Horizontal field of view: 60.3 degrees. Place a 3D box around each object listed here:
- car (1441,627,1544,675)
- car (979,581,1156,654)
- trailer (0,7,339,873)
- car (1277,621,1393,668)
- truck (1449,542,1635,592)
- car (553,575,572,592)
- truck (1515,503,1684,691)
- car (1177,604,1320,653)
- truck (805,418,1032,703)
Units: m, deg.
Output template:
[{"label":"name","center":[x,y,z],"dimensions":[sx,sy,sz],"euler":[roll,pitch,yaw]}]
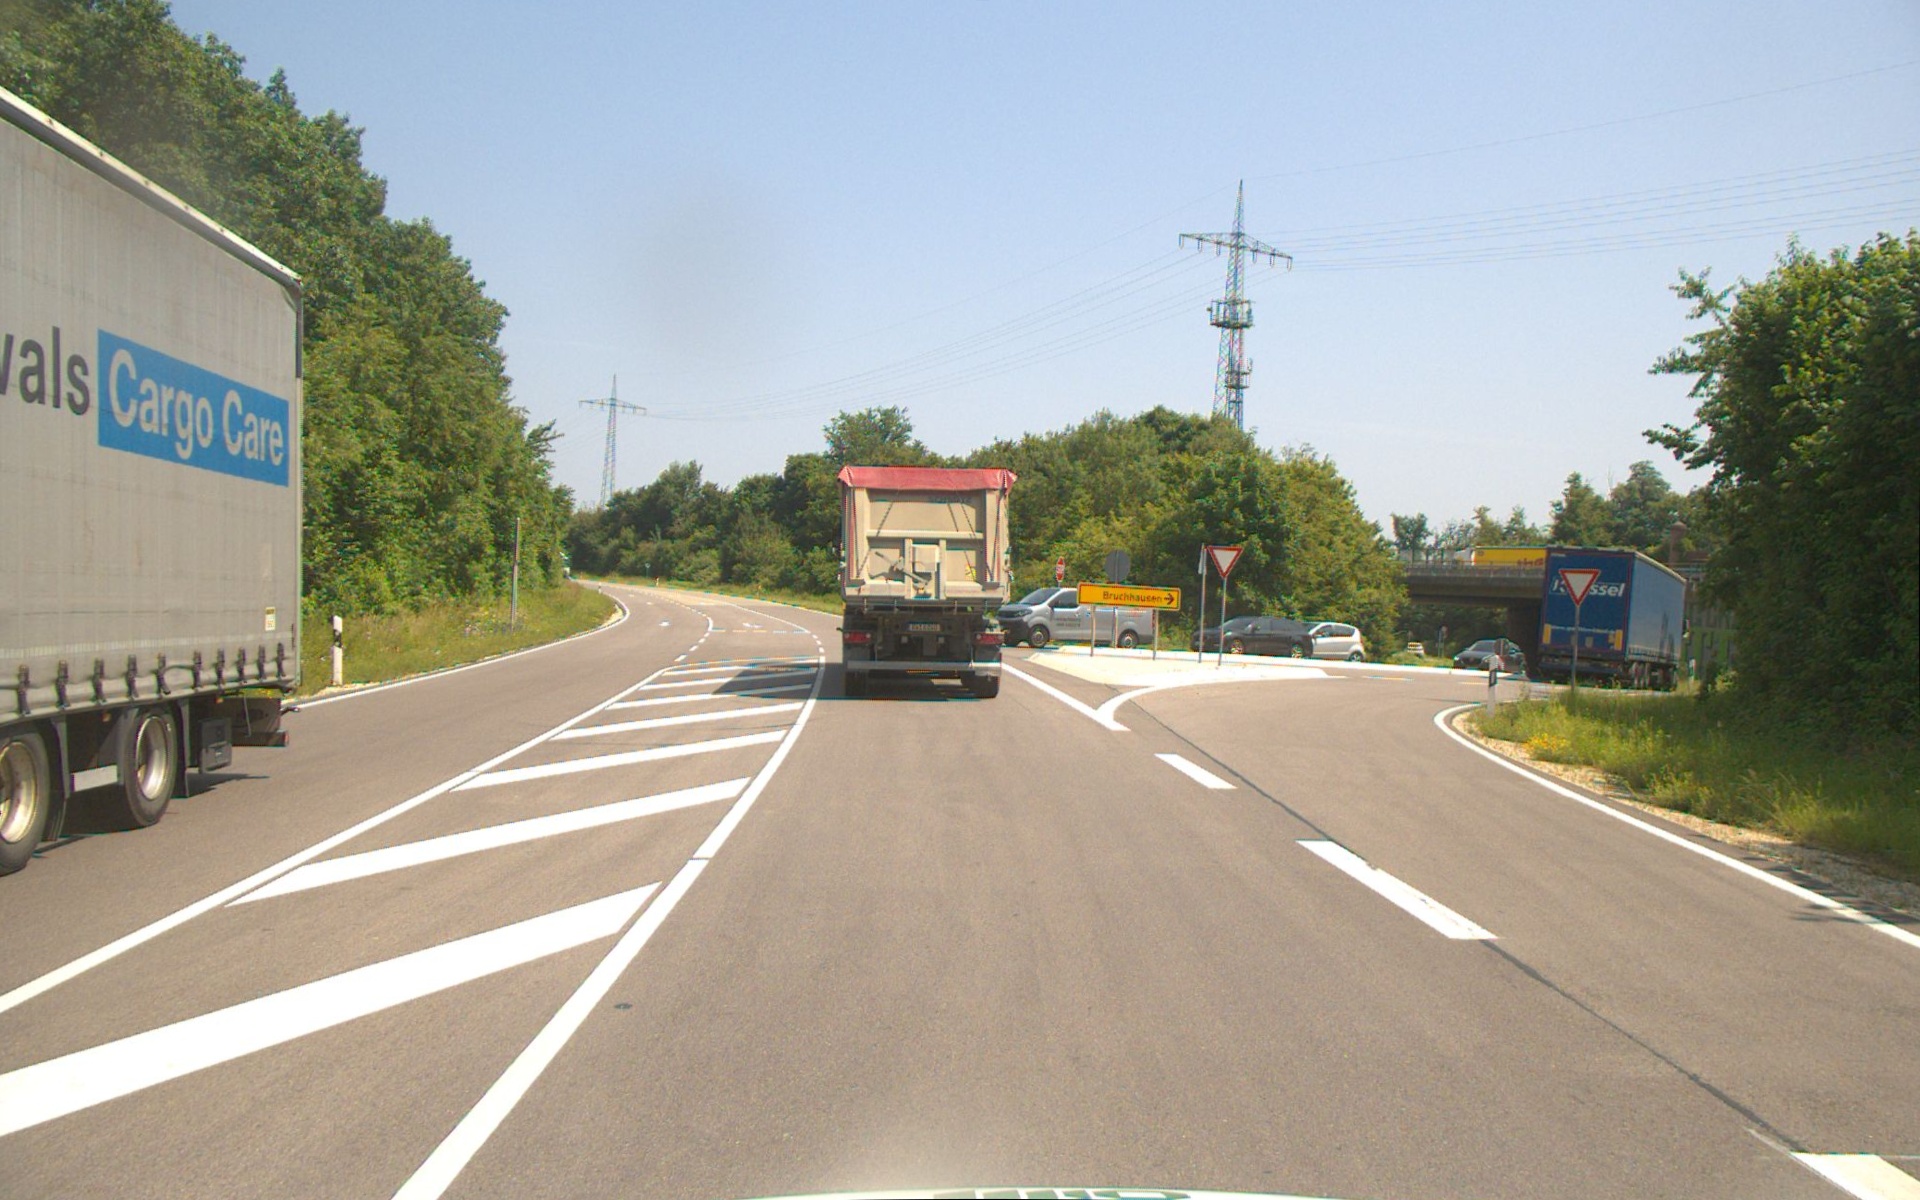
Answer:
[{"label":"car","center":[20.153,1.945,62.502],"dimensions":[4.057,1.626,1.786],"euler":[4,-2,-40]},{"label":"car","center":[3.353,0.564,51.300],"dimensions":[5.149,1.940,1.997],"euler":[4,-2,-26]},{"label":"trailer","center":[-6.133,-0.786,9.071],"dimensions":[2.773,4.167,8.990],"euler":[1,0,-6]},{"label":"car","center":[13.455,1.598,59.344],"dimensions":[3.942,1.607,1.825],"euler":[1,0,-32]},{"label":"truck","center":[50.130,-2.763,143.433],"dimensions":[4.388,3.987,16.554],"euler":[1,0,-29]},{"label":"car","center":[-44.004,-1.821,183.047],"dimensions":[1.812,1.810,4.874],"euler":[1,0,-15]},{"label":"truck","center":[21.657,-0.015,55.193],"dimensions":[3.299,5.408,15.317],"euler":[1,0,28]},{"label":"car","center":[9.464,0.940,54.181],"dimensions":[4.500,1.500,1.850],"euler":[1,0,-30]},{"label":"truck","center":[-1.139,-0.622,29.684],"dimensions":[2.838,4.031,11.914],"euler":[1,0,-7]}]
